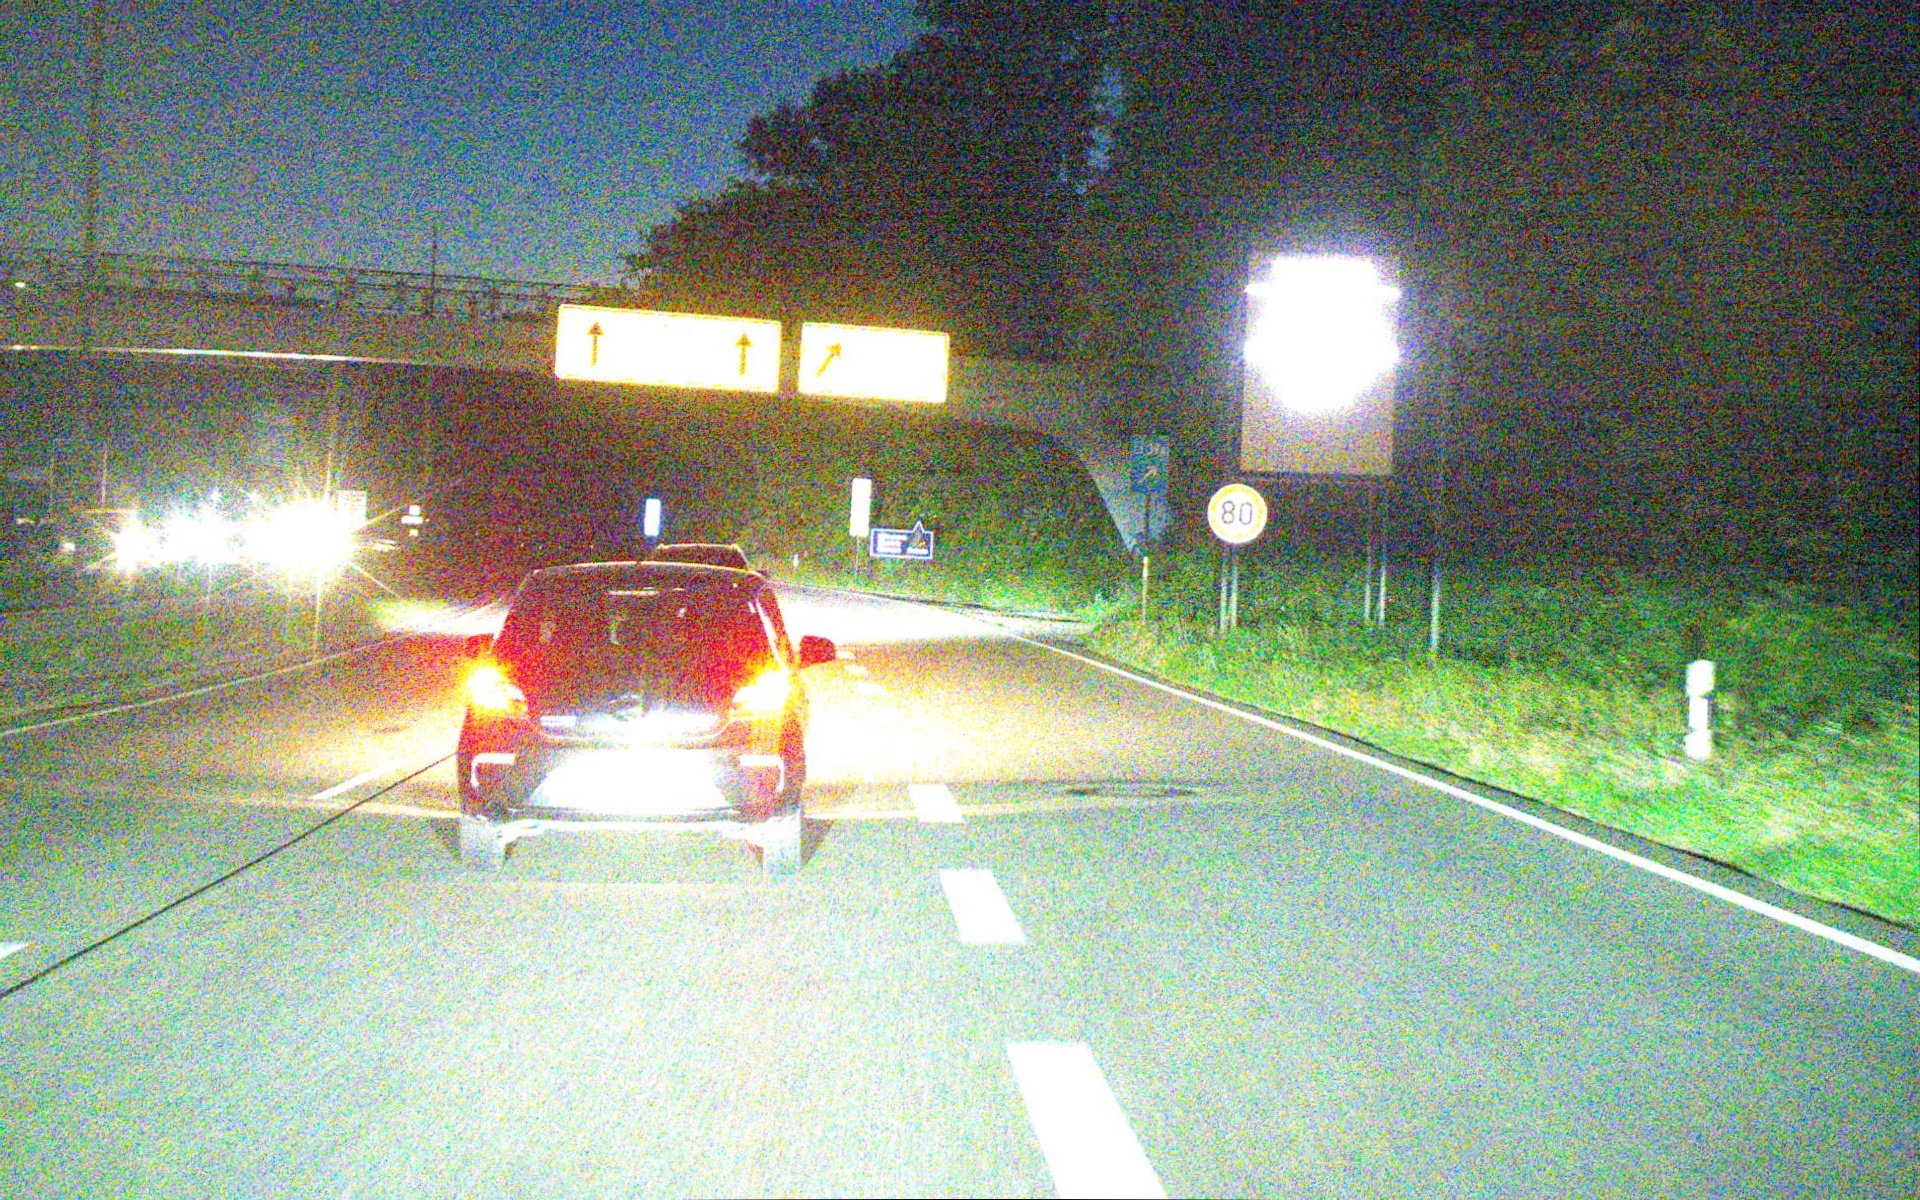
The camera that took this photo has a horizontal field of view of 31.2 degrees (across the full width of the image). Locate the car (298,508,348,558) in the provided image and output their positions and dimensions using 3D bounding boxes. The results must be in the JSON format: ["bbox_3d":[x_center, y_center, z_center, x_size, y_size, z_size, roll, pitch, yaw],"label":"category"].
[{"bbox_3d":[-31.172,-3.271,168.376,1.993,2.259,4.001,5,0,-7],"label":"car"}]

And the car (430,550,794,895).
[{"bbox_3d":[-1.670,0.515,17.189,1.588,1.503,4.001,1,1,-4],"label":"car"}]

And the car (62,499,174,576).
[{"bbox_3d":[-23.339,-1.743,95.460,2.361,2.007,5.034,2,1,-7],"label":"car"}]

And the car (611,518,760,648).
[{"bbox_3d":[-3.924,-0.282,49.636,1.906,1.692,4.001,4,1,-3],"label":"car"}]

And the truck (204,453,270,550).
[{"bbox_3d":[-33.924,-4.574,161.094,2.625,4.218,8.598,5,0,-13],"label":"truck"}]
